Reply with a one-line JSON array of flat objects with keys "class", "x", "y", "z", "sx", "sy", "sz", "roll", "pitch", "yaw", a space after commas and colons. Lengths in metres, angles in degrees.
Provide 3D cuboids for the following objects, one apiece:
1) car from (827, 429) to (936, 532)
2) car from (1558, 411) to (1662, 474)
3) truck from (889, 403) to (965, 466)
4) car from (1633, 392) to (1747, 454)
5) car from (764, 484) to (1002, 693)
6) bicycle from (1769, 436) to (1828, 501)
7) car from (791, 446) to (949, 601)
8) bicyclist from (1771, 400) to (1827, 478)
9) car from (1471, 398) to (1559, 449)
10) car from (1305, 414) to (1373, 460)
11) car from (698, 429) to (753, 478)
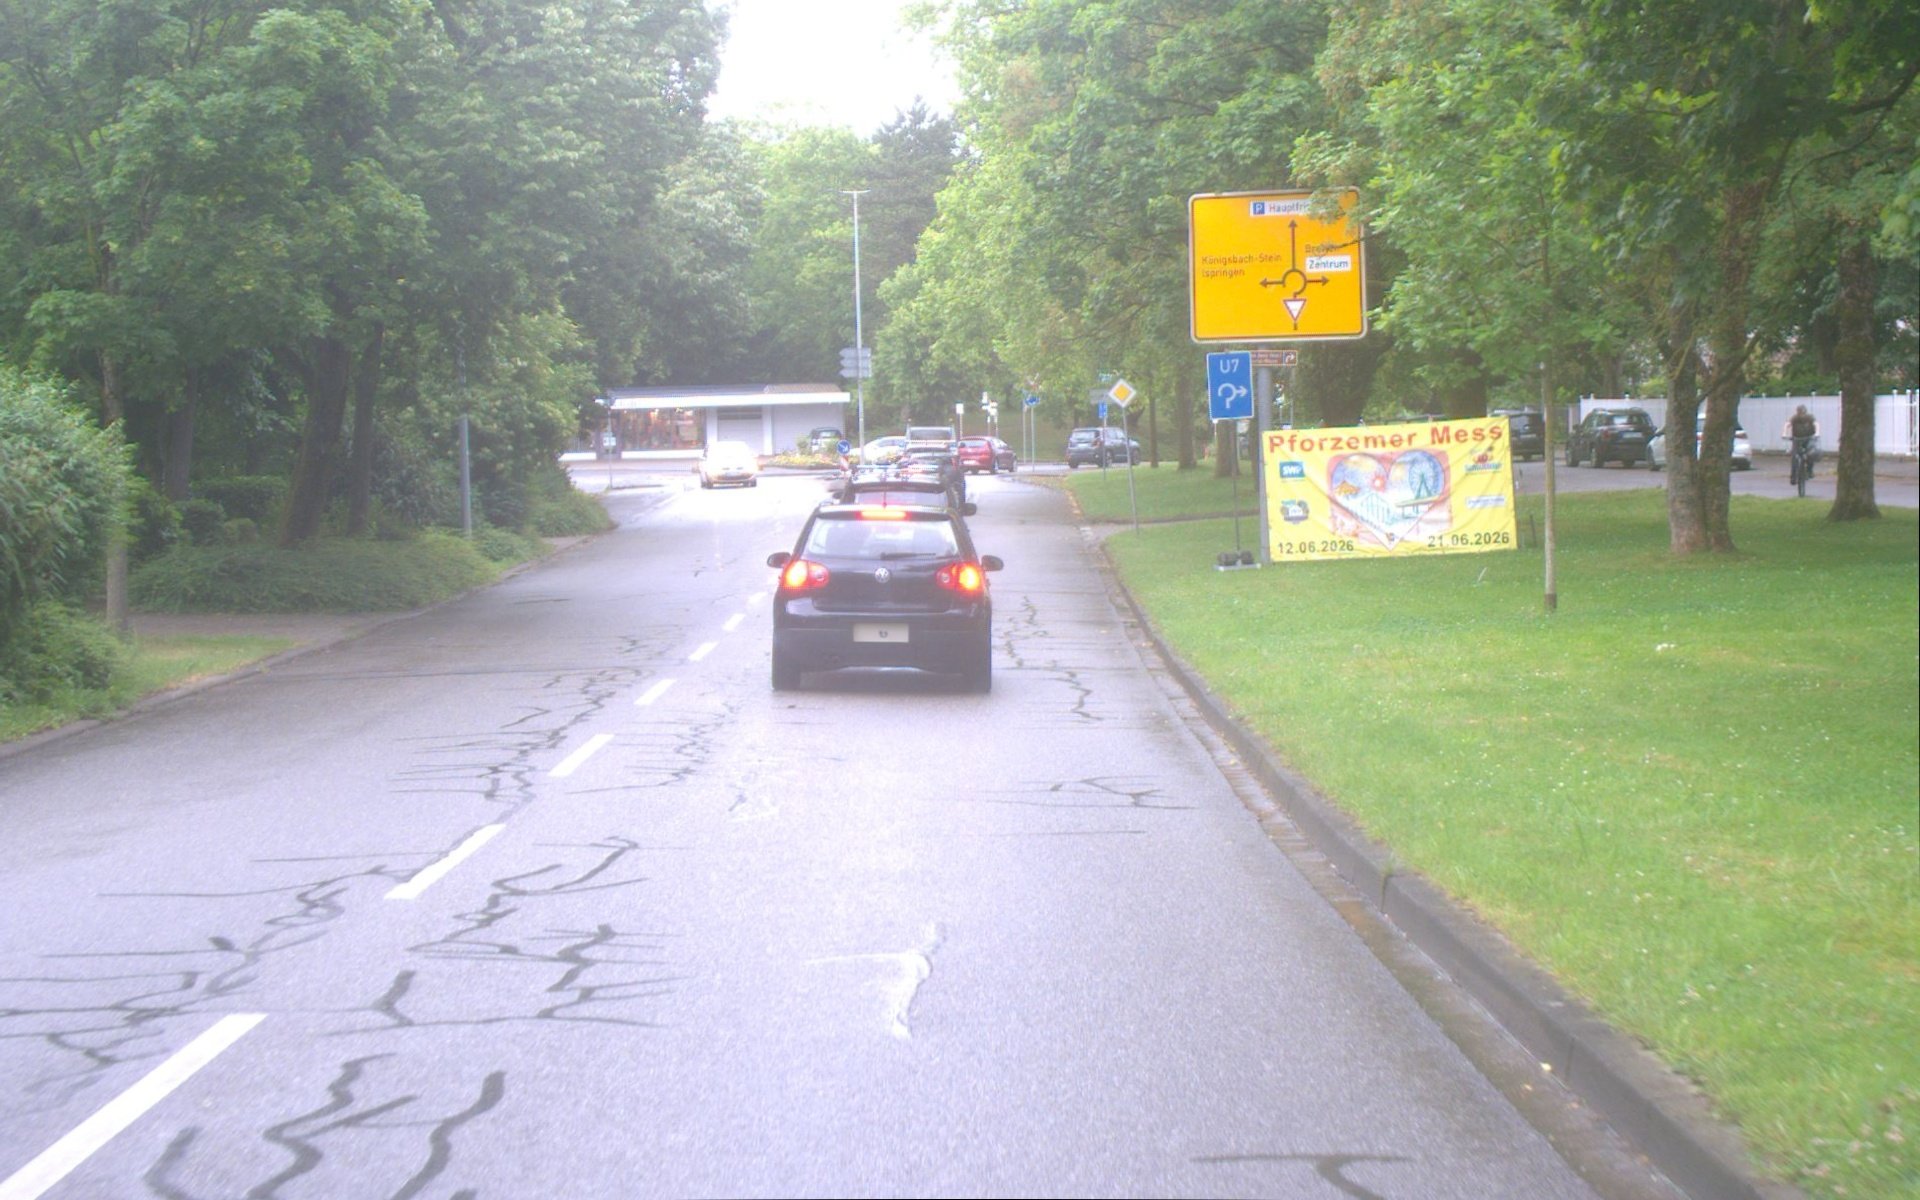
[{"class": "car", "x": -1.409, "y": -2.219, "z": 63.031, "sx": 1.855, "sy": 1.778, "sz": 4.001, "roll": -1, "pitch": 3, "yaw": 0}, {"class": "car", "x": 17.557, "y": -4.274, "z": 93.044, "sx": 1.801, "sy": 1.524, "sz": 4.114, "roll": -3, "pitch": 4, "yaw": -3}, {"class": "truck", "x": -1.137, "y": -5.566, "z": 115.276, "sx": 2.416, "sy": 1.997, "sz": 5.152, "roll": -2, "pitch": 3, "yaw": -1}, {"class": "car", "x": 18.154, "y": -4.424, "z": 85.619, "sx": 1.616, "sy": 1.404, "sz": 4.012, "roll": -3, "pitch": 4, "yaw": -5}, {"class": "car", "x": -0.589, "y": -0.149, "z": 28.119, "sx": 1.798, "sy": 1.510, "sz": 3.754, "roll": 1, "pitch": 3, "yaw": 0}, {"class": "bicycle", "x": 15.183, "y": -2.387, "z": 62.270, "sx": 0.595, "sy": 1.134, "sz": 1.864, "roll": -1, "pitch": 2, "yaw": 0}, {"class": "car", "x": -1.099, "y": -1.015, "z": 43.842, "sx": 1.855, "sy": 1.778, "sz": 4.001, "roll": -1, "pitch": 3, "yaw": 0}, {"class": "bicyclist", "x": 15.185, "y": -2.917, "z": 62.251, "sx": 0.744, "sy": 1.386, "sz": 1.000, "roll": -1, "pitch": 2, "yaw": 0}, {"class": "car", "x": 16.940, "y": -5.407, "z": 105.107, "sx": 1.801, "sy": 1.406, "sz": 4.114, "roll": -3, "pitch": 4, "yaw": -3}, {"class": "car", "x": 12.986, "y": -5.621, "z": 118.116, "sx": 1.803, "sy": 1.401, "sz": 4.001, "roll": -3, "pitch": 4, "yaw": 0}, {"class": "car", "x": -8.292, "y": -5.174, "z": 121.218, "sx": 1.763, "sy": 1.608, "sz": 4.142, "roll": -3, "pitch": 3, "yaw": -5}]
